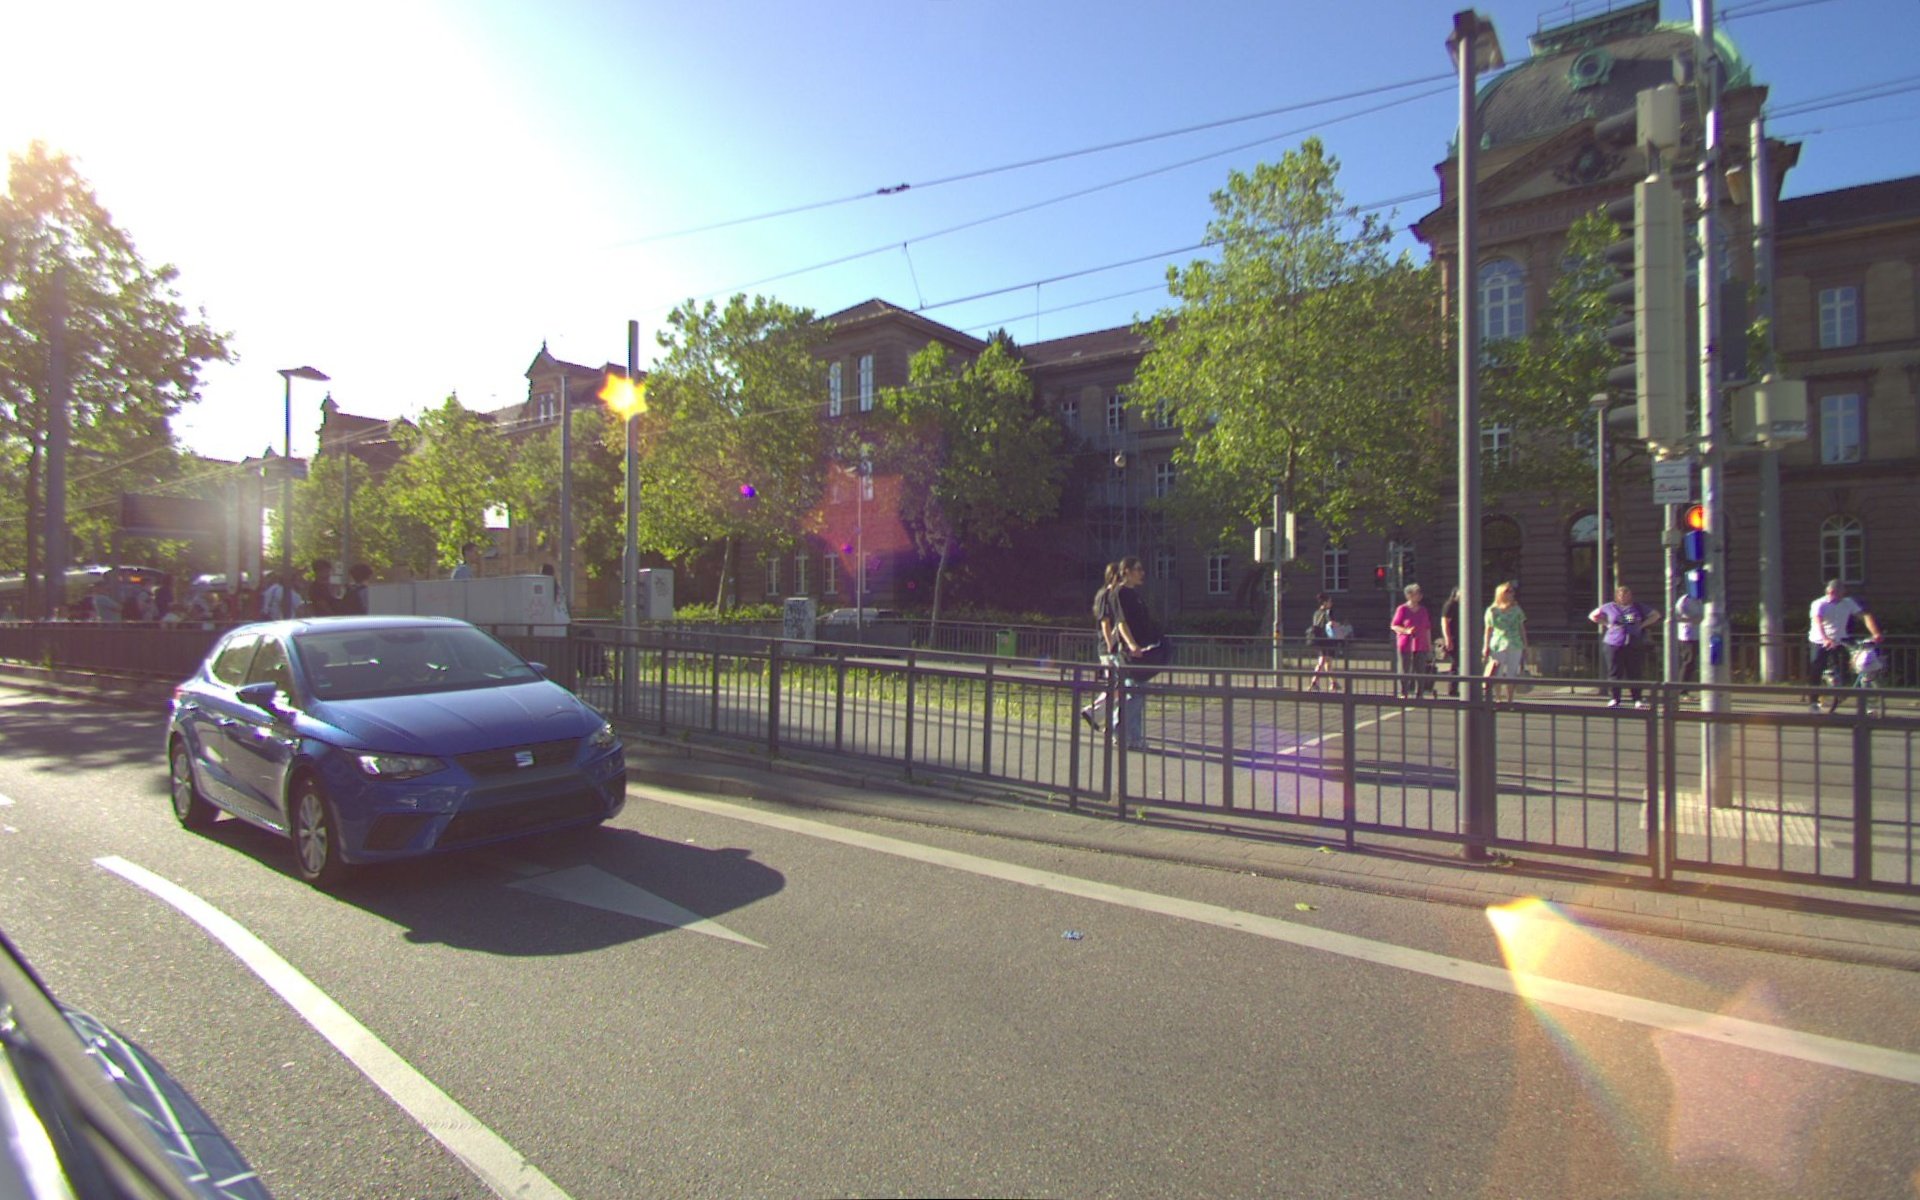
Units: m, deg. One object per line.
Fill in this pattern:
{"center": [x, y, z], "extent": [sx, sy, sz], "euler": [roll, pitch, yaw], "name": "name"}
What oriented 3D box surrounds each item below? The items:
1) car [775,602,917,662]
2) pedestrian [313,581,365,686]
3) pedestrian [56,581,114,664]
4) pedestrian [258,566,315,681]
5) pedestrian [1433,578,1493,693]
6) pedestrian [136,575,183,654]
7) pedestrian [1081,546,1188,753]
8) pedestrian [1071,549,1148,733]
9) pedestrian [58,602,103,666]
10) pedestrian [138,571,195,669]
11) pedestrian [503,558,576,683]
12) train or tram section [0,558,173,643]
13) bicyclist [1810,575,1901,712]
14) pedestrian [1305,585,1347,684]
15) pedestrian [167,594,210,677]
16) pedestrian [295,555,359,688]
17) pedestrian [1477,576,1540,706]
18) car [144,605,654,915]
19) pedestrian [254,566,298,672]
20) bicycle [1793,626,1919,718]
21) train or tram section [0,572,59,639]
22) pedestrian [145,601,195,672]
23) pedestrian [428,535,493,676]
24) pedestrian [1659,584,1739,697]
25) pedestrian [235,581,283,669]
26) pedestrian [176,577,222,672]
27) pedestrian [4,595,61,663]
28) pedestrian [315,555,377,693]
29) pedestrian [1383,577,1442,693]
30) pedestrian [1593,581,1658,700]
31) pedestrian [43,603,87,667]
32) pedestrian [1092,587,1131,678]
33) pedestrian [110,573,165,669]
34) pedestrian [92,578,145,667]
{"center": [-3.633, 0.945, 31.911], "extent": [4.221, 1.674, 1.976], "euler": [0, 2, 36], "name": "car"}
{"center": [-10.726, 0.574, 17.494], "extent": [0.609, 1.783, 0.549], "euler": [-1, -1, 32], "name": "pedestrian"}
{"center": [-19.153, 0.495, 22.149], "extent": [0.721, 1.766, 0.769], "euler": [-1, -2, 32], "name": "pedestrian"}
{"center": [-10.233, 0.357, 15.377], "extent": [0.609, 1.715, 0.501], "euler": [-1, -1, 32], "name": "pedestrian"}
{"center": [7.894, 0.550, 15.888], "extent": [0.633, 1.756, 0.699], "euler": [-1, -1, 45], "name": "pedestrian"}
{"center": [-17.166, 0.305, 21.700], "extent": [0.621, 1.662, 0.614], "euler": [-1, -1, 32], "name": "pedestrian"}
{"center": [1.537, 0.420, 8.896], "extent": [0.745, 1.715, 0.627], "euler": [-1, -1, 32], "name": "pedestrian"}
{"center": [1.456, 0.389, 9.822], "extent": [0.544, 1.715, 0.604], "euler": [-1, -1, 32], "name": "pedestrian"}
{"center": [-17.817, 0.685, 20.499], "extent": [0.603, 1.256, 0.529], "euler": [-1, -2, 34], "name": "pedestrian"}
{"center": [-14.108, 0.351, 17.997], "extent": [0.570, 1.709, 0.654], "euler": [-1, -2, 37], "name": "pedestrian"}
{"center": [-5.709, 0.265, 13.757], "extent": [0.639, 1.631, 0.635], "euler": [2, 0, 32], "name": "pedestrian"}
{"center": [-41.835, 0.134, 47.614], "extent": [18.180, 3.460, 2.823], "euler": [-1, 0, 37], "name": "train or tram section"}
{"center": [11.020, 0.519, 12.482], "extent": [0.656, 1.638, 0.656], "euler": [-1, 0, 25], "name": "bicyclist"}
{"center": [6.364, 0.598, 17.602], "extent": [0.629, 1.677, 0.704], "euler": [-1, -1, 23], "name": "pedestrian"}
{"center": [-12.559, 0.568, 16.470], "extent": [0.506, 1.326, 0.412], "euler": [-1, -1, 34], "name": "pedestrian"}
{"center": [-8.544, 0.292, 13.659], "extent": [0.538, 1.747, 0.543], "euler": [-1, -1, 32], "name": "pedestrian"}
{"center": [7.419, 0.545, 13.683], "extent": [0.702, 1.692, 0.614], "euler": [-1, -1, 32], "name": "pedestrian"}
{"center": [-3.864, 0.788, 6.698], "extent": [3.872, 1.426, 1.685], "euler": [-1, 1, 40], "name": "car"}
{"center": [-11.301, 0.306, 16.731], "extent": [0.498, 1.715, 0.613], "euler": [0, -1, -26], "name": "pedestrian"}
{"center": [11.052, 0.846, 12.450], "extent": [0.831, 0.994, 1.657], "euler": [-1, 0, 25], "name": "bicycle"}
{"center": [-56.462, 0.431, 58.501], "extent": [18.241, 3.460, 2.845], "euler": [-1, 0, 37], "name": "train or tram section"}
{"center": [-13.522, 0.617, 17.319], "extent": [0.530, 1.201, 0.540], "euler": [-1, -1, 36], "name": "pedestrian"}
{"center": [-6.397, 0.075, 12.977], "extent": [0.538, 1.747, 0.543], "euler": [-1, -1, 32], "name": "pedestrian"}
{"center": [10.662, 0.575, 14.610], "extent": [0.699, 1.573, 0.781], "euler": [0, -1, -41], "name": "pedestrian"}
{"center": [-12.483, 0.441, 18.020], "extent": [0.530, 1.530, 0.540], "euler": [-1, -2, 36], "name": "pedestrian"}
{"center": [-14.090, 0.449, 18.731], "extent": [0.620, 1.721, 0.510], "euler": [-1, -2, 36], "name": "pedestrian"}
{"center": [-21.214, 0.654, 23.156], "extent": [0.749, 1.521, 0.769], "euler": [-1, -2, 33], "name": "pedestrian"}
{"center": [-7.984, 0.305, 13.171], "extent": [0.531, 1.747, 0.551], "euler": [0, -1, -13], "name": "pedestrian"}
{"center": [6.682, 0.510, 14.938], "extent": [0.707, 1.662, 0.626], "euler": [-1, -1, 32], "name": "pedestrian"}
{"center": [9.140, 0.546, 13.922], "extent": [0.702, 1.594, 0.614], "euler": [-1, -1, 32], "name": "pedestrian"}
{"center": [-18.685, 0.728, 21.131], "extent": [0.602, 1.309, 0.529], "euler": [-1, -2, 33], "name": "pedestrian"}
{"center": [2.958, 0.635, 19.783], "extent": [0.544, 1.741, 0.519], "euler": [-1, -1, 40], "name": "pedestrian"}
{"center": [-15.069, 0.380, 18.552], "extent": [0.570, 1.709, 0.654], "euler": [-1, -2, 37], "name": "pedestrian"}
{"center": [-15.878, 0.417, 19.098], "extent": [0.570, 1.646, 0.654], "euler": [-1, -2, 37], "name": "pedestrian"}
